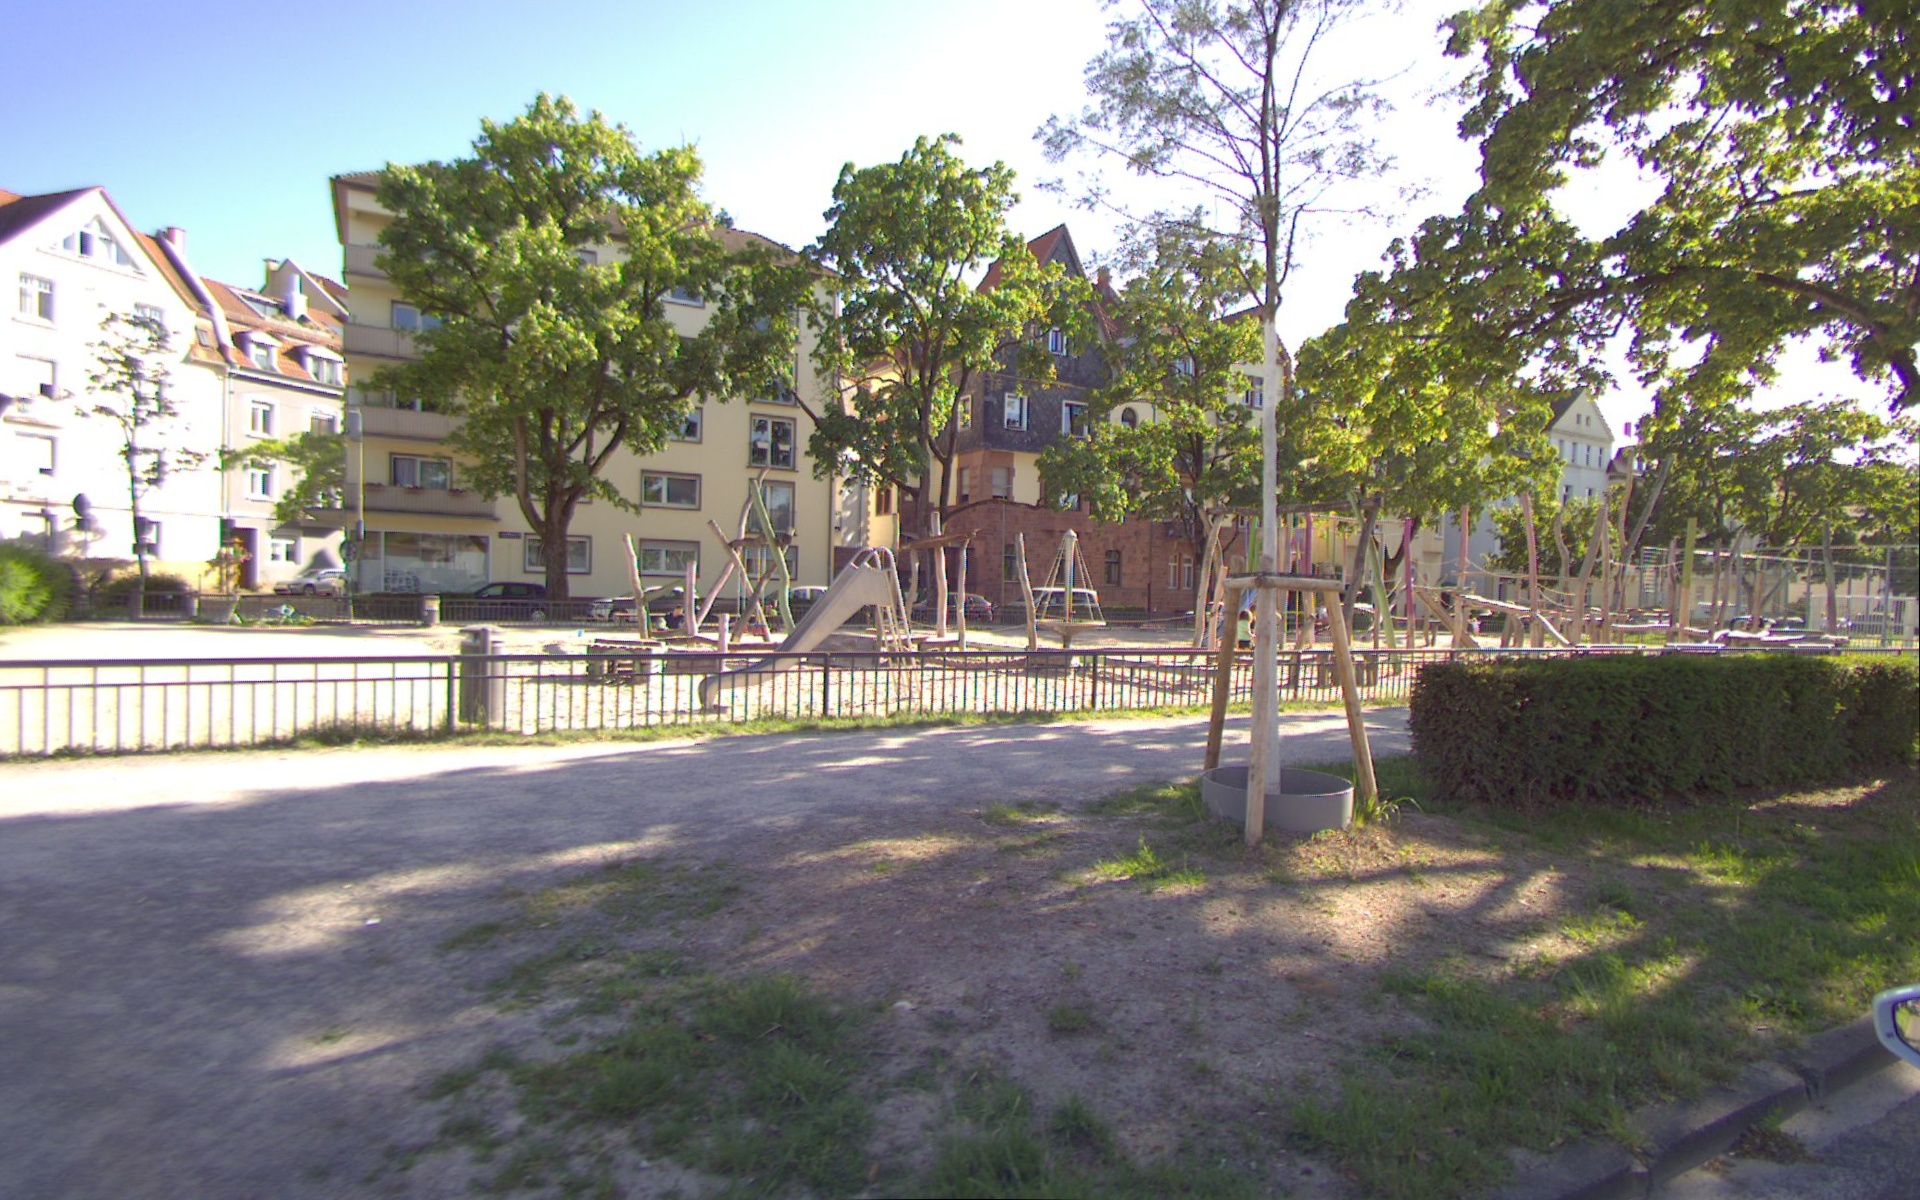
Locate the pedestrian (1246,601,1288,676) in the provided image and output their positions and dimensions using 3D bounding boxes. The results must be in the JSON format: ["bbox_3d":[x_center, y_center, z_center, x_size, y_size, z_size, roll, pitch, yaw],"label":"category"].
[{"bbox_3d":[7.071,0.868,23.143,0.639,1.683,0.649,1,1,-11],"label":"pedestrian"}]

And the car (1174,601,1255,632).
[{"bbox_3d":[13.362,0.867,52.726,3.952,1.530,1.786,1,1,-30],"label":"car"}]

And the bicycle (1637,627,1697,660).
[{"bbox_3d":[26.593,1.618,37.816,0.494,1.122,1.785,1,1,-31],"label":"bicycle"}]

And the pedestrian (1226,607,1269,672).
[{"bbox_3d":[6.230,0.849,21.786,0.639,1.347,0.649,1,1,-11],"label":"pedestrian"}]

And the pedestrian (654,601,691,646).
[{"bbox_3d":[-6.624,0.540,23.134,0.767,0.992,0.540,1,1,-22],"label":"pedestrian"}]

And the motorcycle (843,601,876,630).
[{"bbox_3d":[-4.226,0.643,42.160,0.495,1.122,1.781,1,1,-37],"label":"motorcycle"}]

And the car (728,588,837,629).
[{"bbox_3d":[-7.158,0.351,40.619,3.952,1.530,1.786,1,1,-30],"label":"car"}]

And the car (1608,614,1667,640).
[{"bbox_3d":[50.250,1.986,74.470,4.435,1.801,1.786,1,1,-30],"label":"car"}]

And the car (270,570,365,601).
[{"bbox_3d":[-33.858,-0.740,53.043,1.764,1.530,4.000,1,0,19],"label":"car"}]

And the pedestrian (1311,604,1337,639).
[{"bbox_3d":[14.024,0.817,38.666,0.643,1.336,0.644,1,1,-33],"label":"pedestrian"}]

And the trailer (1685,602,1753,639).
[{"bbox_3d":[61.371,1.661,81.197,5.735,2.909,2.331,1,1,-31],"label":"trailer"}]

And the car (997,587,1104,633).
[{"bbox_3d":[4.261,0.480,47.056,4.777,2.009,1.786,1,1,-30],"label":"car"}]

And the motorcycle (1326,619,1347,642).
[{"bbox_3d":[14.609,1.173,38.970,0.281,0.838,0.698,1,1,-31],"label":"motorcycle"}]

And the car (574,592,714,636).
[{"bbox_3d":[-11.850,0.520,37.734,4.710,1.530,1.896,1,1,-31],"label":"car"}]

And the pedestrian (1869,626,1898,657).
[{"bbox_3d":[40.699,1.828,44.270,0.637,1.336,0.650,2,1,0],"label":"pedestrian"}]

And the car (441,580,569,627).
[{"bbox_3d":[-15.962,0.120,35.259,3.952,1.530,1.786,1,1,-30],"label":"car"}]

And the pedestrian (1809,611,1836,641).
[{"bbox_3d":[39.455,1.197,45.952,0.637,1.336,0.650,2,1,0],"label":"pedestrian"}]

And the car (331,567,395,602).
[{"bbox_3d":[-27.974,-0.700,47.008,1.787,1.530,3.949,1,0,-43],"label":"car"}]

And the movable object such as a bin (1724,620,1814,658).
[{"bbox_3d":[29.056,1.382,36.100,1.045,1.258,2.317,1,0,-33],"label":"movable object such as a bin"}]

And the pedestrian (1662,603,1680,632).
[{"bbox_3d":[42.279,1.044,59.758,0.642,1.683,0.645,1,0,-29],"label":"pedestrian"}]
